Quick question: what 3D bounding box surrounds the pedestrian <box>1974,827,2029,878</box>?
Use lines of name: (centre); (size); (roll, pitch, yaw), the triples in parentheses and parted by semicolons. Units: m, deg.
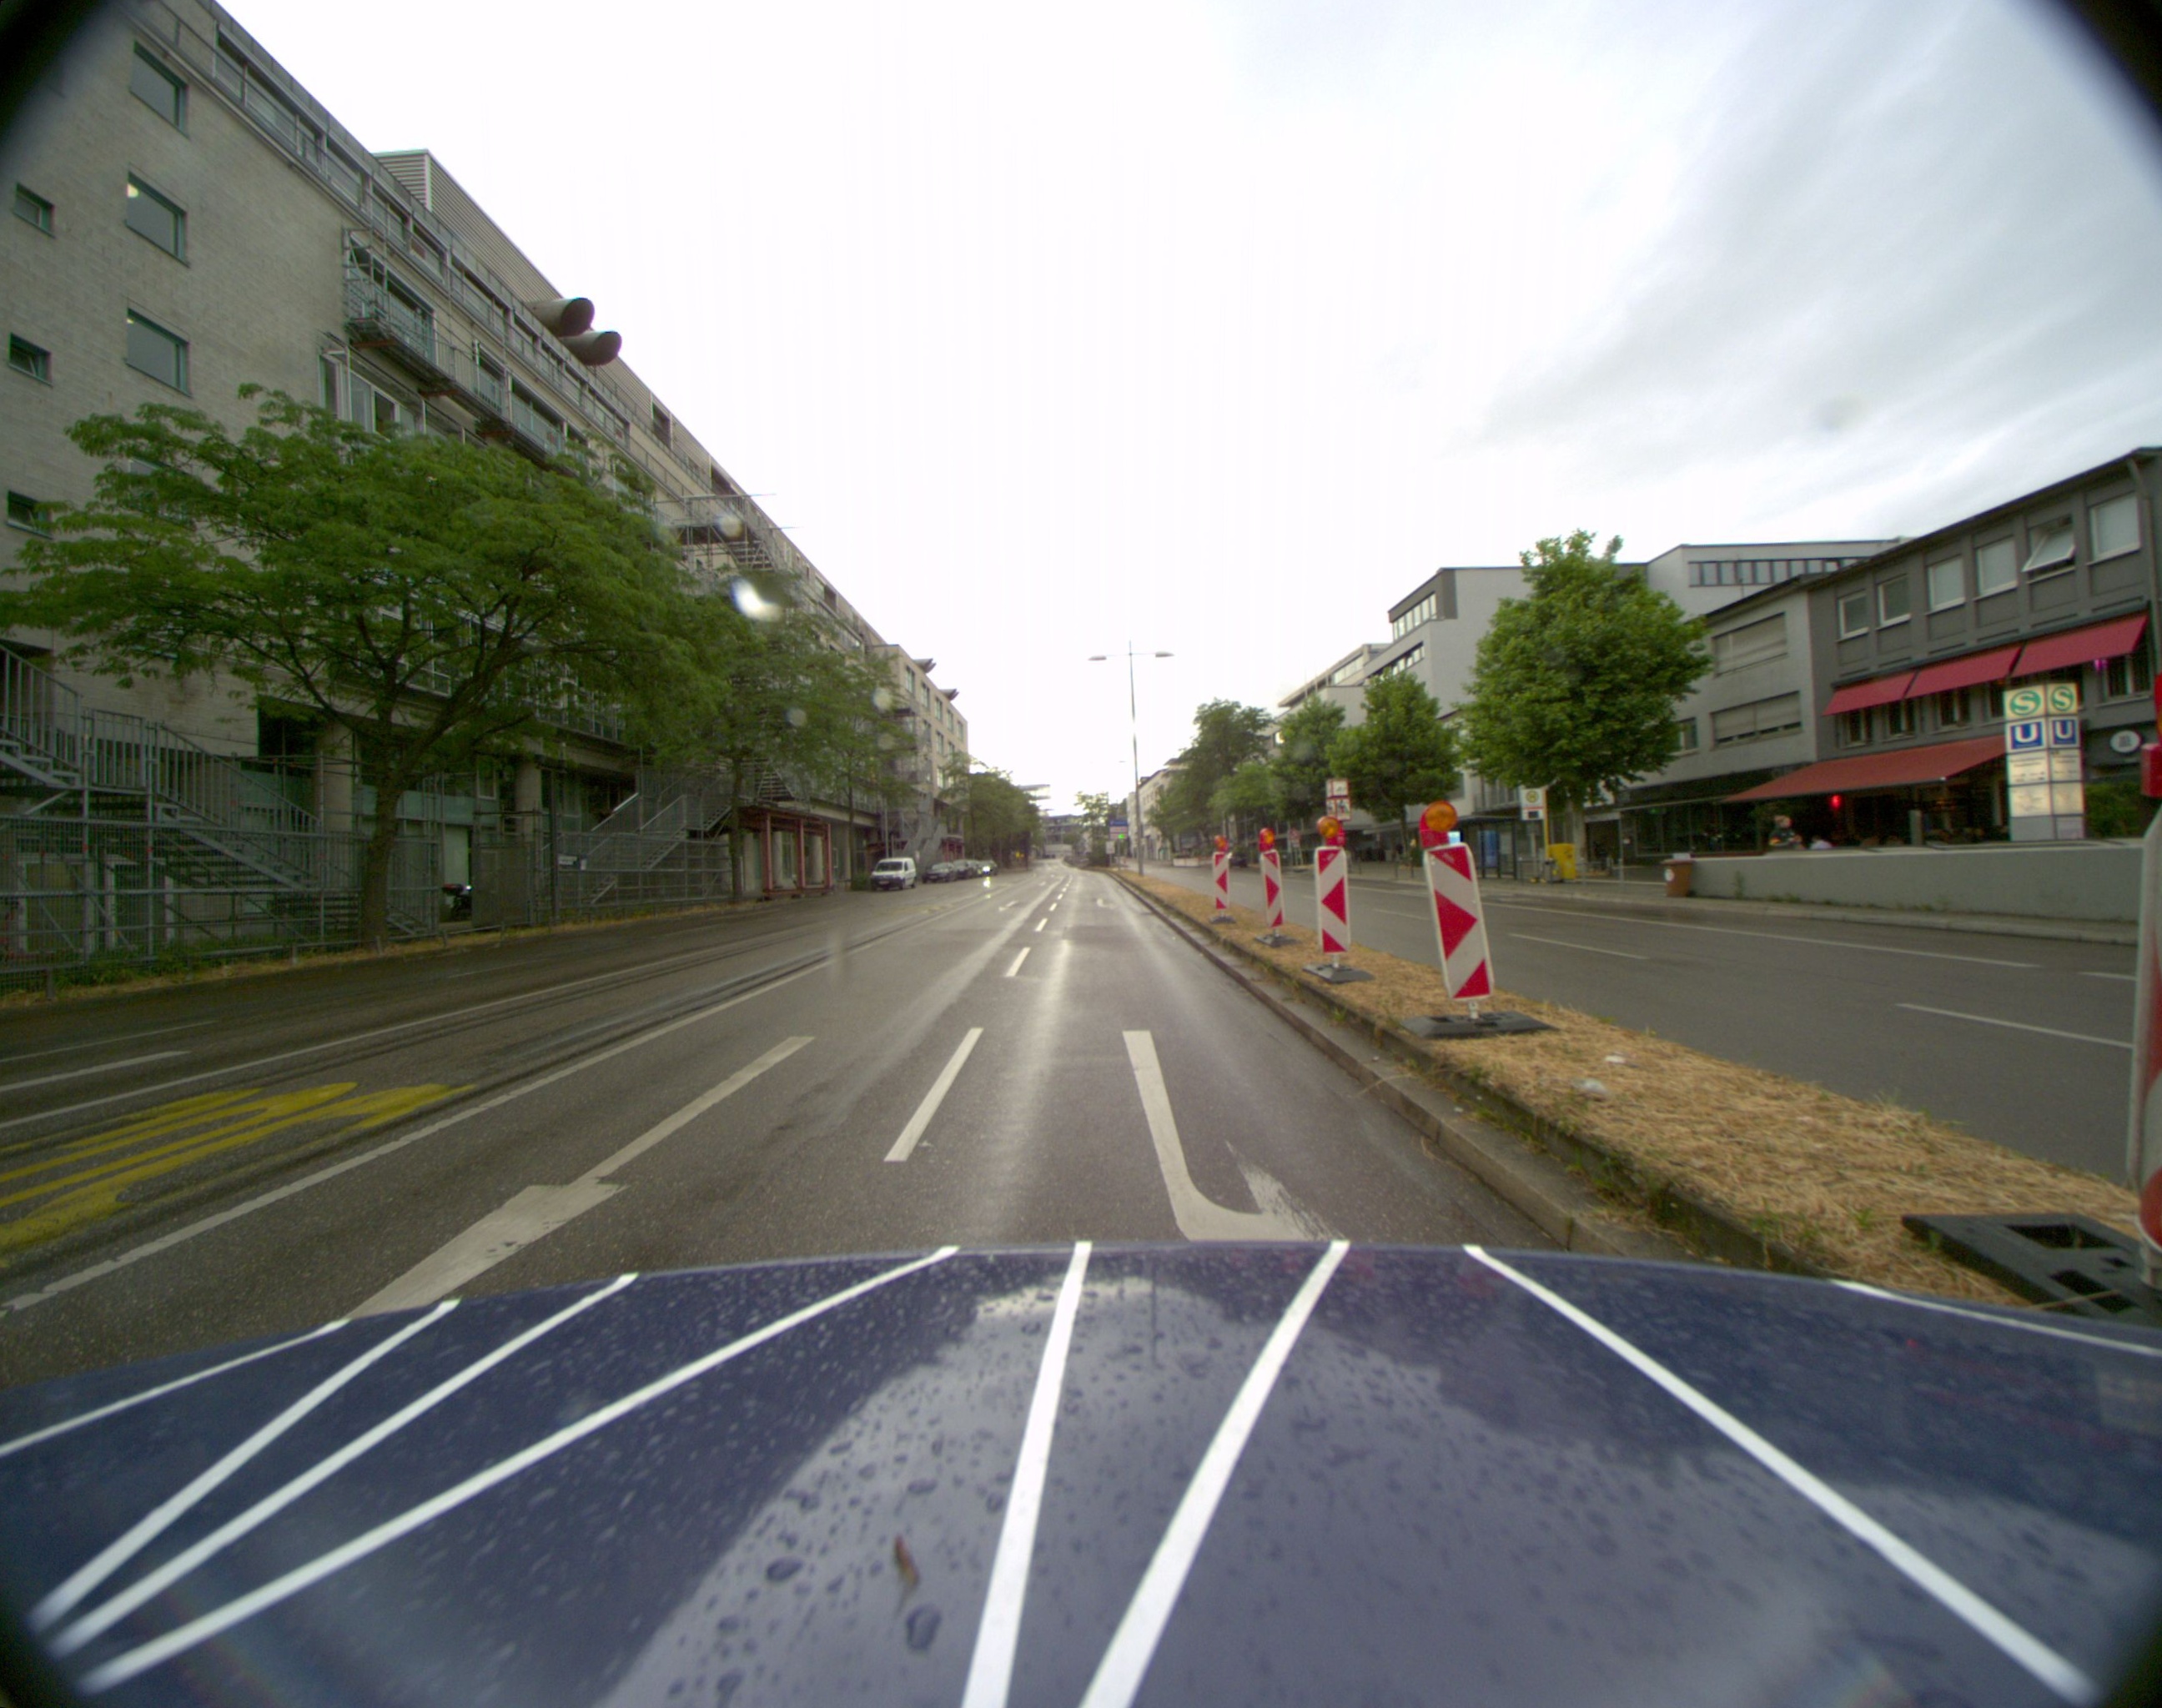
pedestrian: (24.919, -0.052, 20.571); (0.635, 1.336, 0.691); (-2, 1, -6)

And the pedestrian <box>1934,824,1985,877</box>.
pedestrian: (24.773, -0.103, 21.431); (0.635, 1.442, 0.691); (-2, 1, -6)

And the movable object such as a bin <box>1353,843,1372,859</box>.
movable object such as a bin: (26.646, -0.287, 71.949); (1.088, 1.427, 1.281); (-2, 0, -9)

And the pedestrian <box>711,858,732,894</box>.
pedestrian: (-18.040, 1.096, 38.149); (0.677, 1.732, 0.653); (-1, 1, 3)

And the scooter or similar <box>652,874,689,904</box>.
scooter or similar: (-17.181, 1.461, 31.846); (0.633, 1.155, 1.547); (-2, 0, 1)

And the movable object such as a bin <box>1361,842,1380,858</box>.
movable object such as a bin: (26.834, -0.343, 70.411); (1.088, 1.427, 1.281); (-2, 0, -9)

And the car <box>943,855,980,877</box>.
car: (-9.591, 0.955, 61.353); (1.998, 1.636, 4.863); (-2, 0, 3)

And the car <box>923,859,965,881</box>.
car: (-9.780, 1.113, 54.561); (1.873, 1.429, 4.922); (-2, 0, 3)

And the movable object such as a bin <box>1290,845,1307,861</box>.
movable object such as a bin: (20.307, -0.096, 70.940); (1.281, 1.418, 1.088); (-2, 1, 1)

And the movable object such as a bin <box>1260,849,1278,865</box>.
movable object such as a bin: (17.522, 0.267, 70.916); (1.362, 1.418, 1.088); (-2, 1, 1)

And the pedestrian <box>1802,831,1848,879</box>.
pedestrian: (23.180, 0.037, 23.676); (0.691, 1.442, 0.707); (-2, 1, -4)

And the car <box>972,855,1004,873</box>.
car: (-8.854, 0.954, 72.647); (1.998, 1.591, 5.290); (-2, 0, 4)

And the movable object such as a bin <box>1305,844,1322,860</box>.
movable object such as a bin: (21.701, -0.211, 70.932); (1.281, 1.480, 1.088); (-2, 1, 1)

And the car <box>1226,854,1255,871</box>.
car: (15.601, 0.834, 74.402); (1.783, 1.626, 4.024); (-2, -1, -2)

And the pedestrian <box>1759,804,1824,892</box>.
pedestrian: (15.769, -0.128, 16.876); (0.691, 1.874, 0.758); (-2, 1, -4)

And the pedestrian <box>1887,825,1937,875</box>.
pedestrian: (24.947, -0.113, 22.808); (0.728, 1.442, 0.691); (-2, 1, -6)

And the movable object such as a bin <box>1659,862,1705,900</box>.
movable object such as a bin: (14.517, 0.652, 18.364); (0.533, 0.892, 0.682); (0, 0, -9)

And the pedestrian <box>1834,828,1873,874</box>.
pedestrian: (24.905, -0.082, 24.497); (0.691, 1.442, 0.547); (-2, 1, -4)

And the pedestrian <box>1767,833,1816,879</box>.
pedestrian: (23.109, 0.073, 24.711); (0.691, 1.442, 0.914); (-2, 0, -4)

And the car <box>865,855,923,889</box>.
car: (-10.451, 0.966, 42.815); (1.998, 1.739, 4.526); (-2, 0, 1)

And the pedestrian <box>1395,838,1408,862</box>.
pedestrian: (24.022, -0.282, 56.899); (0.698, 1.753, 0.653); (-1, 1, 3)

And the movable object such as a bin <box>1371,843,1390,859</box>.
movable object such as a bin: (27.240, -0.265, 69.032); (1.088, 1.427, 1.281); (-2, 0, -9)

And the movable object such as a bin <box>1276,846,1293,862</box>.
movable object such as a bin: (18.956, 0.026, 70.915); (1.281, 1.418, 1.088); (-2, 1, 1)

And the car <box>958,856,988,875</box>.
car: (-9.447, 0.968, 66.728); (1.866, 1.591, 4.593); (-2, 0, 1)

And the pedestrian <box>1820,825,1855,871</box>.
pedestrian: (26.014, -0.204, 26.123); (0.598, 1.561, 0.604); (-2, 1, -9)
